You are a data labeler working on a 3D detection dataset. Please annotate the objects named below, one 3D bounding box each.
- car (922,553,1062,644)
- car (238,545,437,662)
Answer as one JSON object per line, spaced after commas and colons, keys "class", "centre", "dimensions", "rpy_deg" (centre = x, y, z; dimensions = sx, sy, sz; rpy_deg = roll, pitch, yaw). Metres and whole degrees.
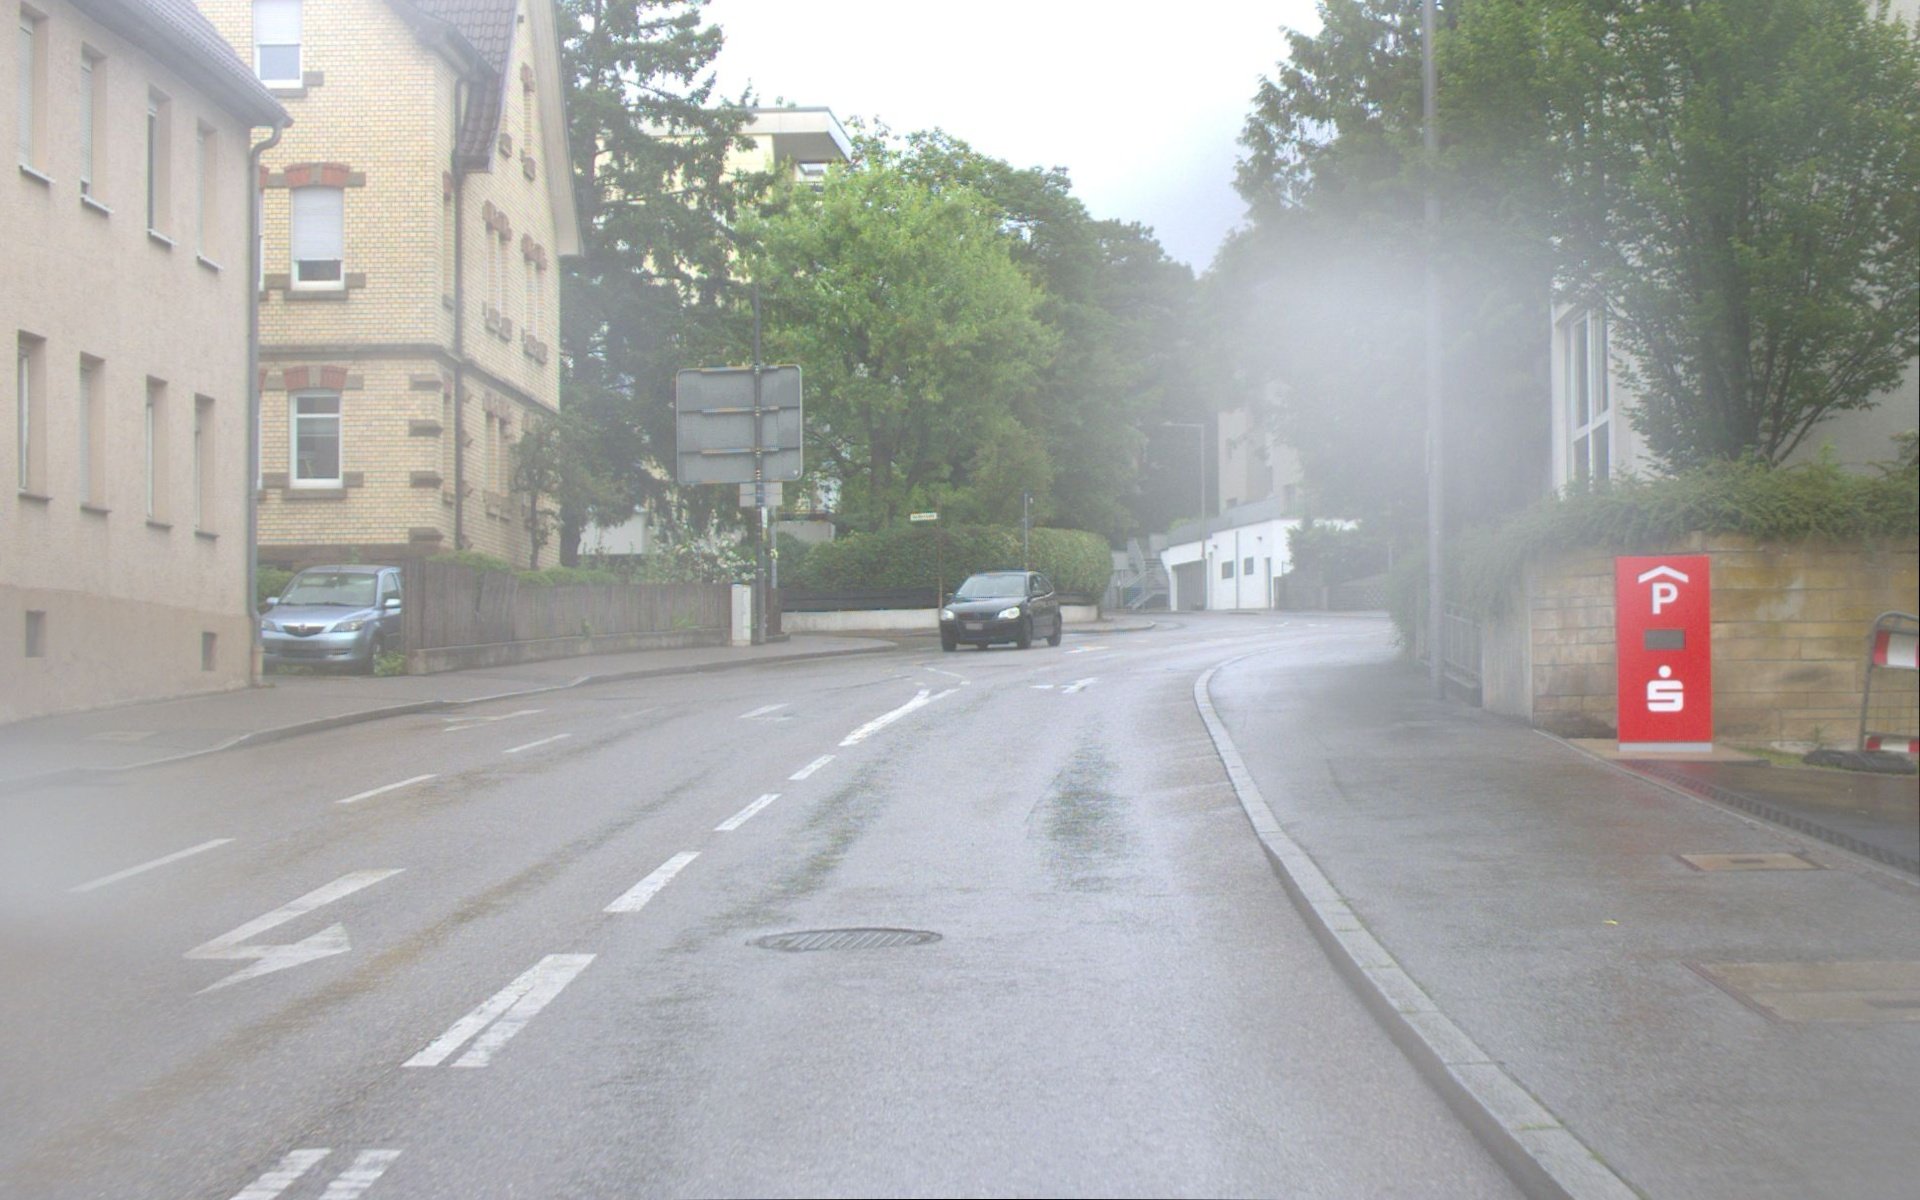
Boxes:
{"class": "car", "centre": [0.629, -0.043, 63.999], "dimensions": [1.746, 1.566, 3.811], "rpy_deg": [3, 1, 13]}
{"class": "car", "centre": [-8.507, 0.018, 47.270], "dimensions": [1.771, 1.498, 3.882], "rpy_deg": [1, 1, 4]}
